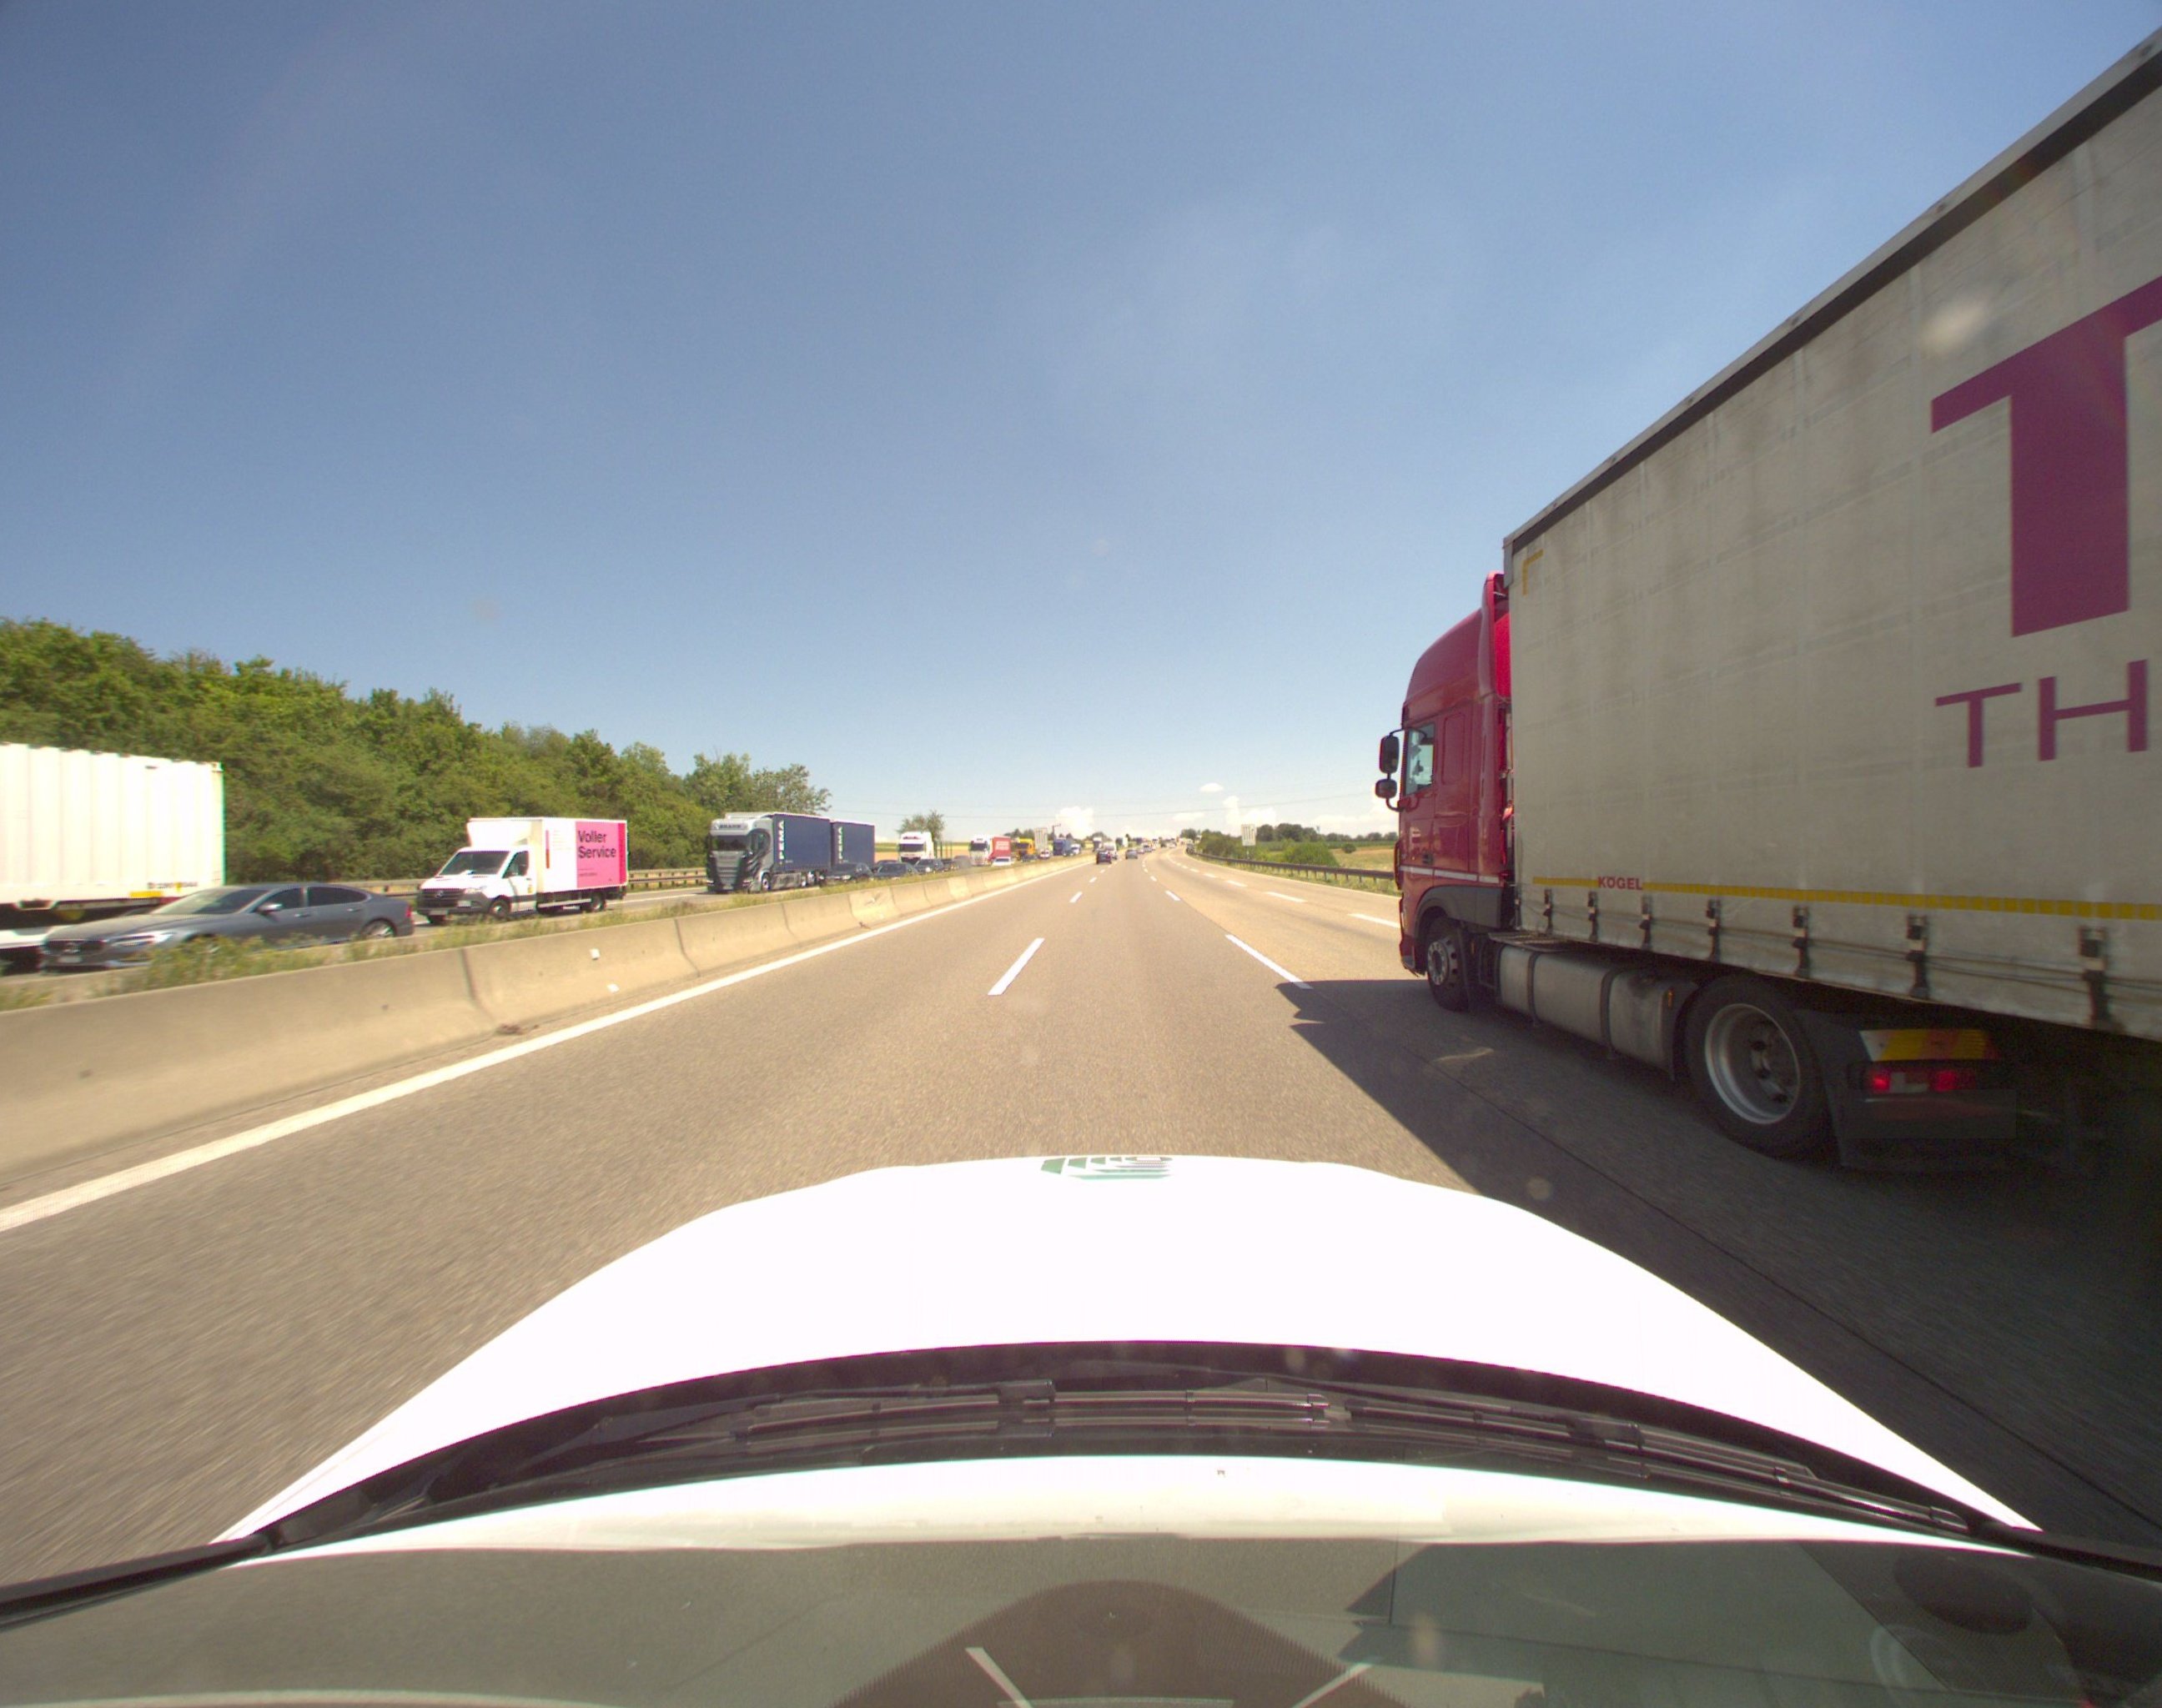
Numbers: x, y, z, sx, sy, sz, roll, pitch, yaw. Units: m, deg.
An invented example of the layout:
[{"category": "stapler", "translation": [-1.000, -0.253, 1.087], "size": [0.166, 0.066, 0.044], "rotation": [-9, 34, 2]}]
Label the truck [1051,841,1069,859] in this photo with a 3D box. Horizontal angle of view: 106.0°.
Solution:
[{"category": "truck", "translation": [-4.851, -0.893, 187.504], "size": [3.060, 4.089, 6.948], "rotation": [-1, 0, 6]}]

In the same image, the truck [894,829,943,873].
[{"category": "truck", "translation": [-14.919, -0.262, 75.332], "size": [2.888, 3.876, 6.184], "rotation": [-1, 0, 3]}]

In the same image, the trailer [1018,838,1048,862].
[{"category": "trailer", "translation": [-8.783, -0.794, 151.517], "size": [2.937, 4.100, 14.409], "rotation": [-1, 1, 7]}]

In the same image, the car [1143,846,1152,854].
[{"category": "car", "translation": [16.183, -1.003, 197.686], "size": [1.985, 1.904, 4.002], "rotation": [-1, -2, 3]}]

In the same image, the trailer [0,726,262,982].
[{"category": "trailer", "translation": [-18.607, 0.056, 12.715], "size": [2.908, 4.071, 8.236], "rotation": [-2, 0, 3]}]

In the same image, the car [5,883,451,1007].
[{"category": "car", "translation": [-14.343, 1.400, 14.409], "size": [1.986, 1.545, 5.496], "rotation": [-2, 0, 1]}]

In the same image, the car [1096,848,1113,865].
[{"category": "car", "translation": [2.827, 0.302, 96.479], "size": [1.840, 1.861, 4.209], "rotation": [-1, 2, 3]}]

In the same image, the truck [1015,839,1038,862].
[{"category": "truck", "translation": [-9.629, -0.663, 144.290], "size": [2.736, 3.837, 7.112], "rotation": [-1, 1, 6]}]

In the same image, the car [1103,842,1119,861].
[{"category": "car", "translation": [4.536, -0.355, 122.504], "size": [2.169, 2.625, 4.678], "rotation": [-1, -2, 5]}]

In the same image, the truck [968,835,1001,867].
[{"category": "truck", "translation": [-12.693, -0.383, 107.131], "size": [3.021, 4.081, 6.323], "rotation": [-1, 0, 5]}]

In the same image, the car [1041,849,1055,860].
[{"category": "car", "translation": [-5.763, 0.052, 141.334], "size": [1.905, 1.772, 4.766], "rotation": [-1, 0, 3]}]

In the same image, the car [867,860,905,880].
[{"category": "car", "translation": [-15.334, 1.261, 64.309], "size": [1.649, 1.431, 4.651], "rotation": [-2, 0, 3]}]

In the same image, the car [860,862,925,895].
[{"category": "car", "translation": [-9.546, 1.212, 41.686], "size": [1.985, 1.527, 4.776], "rotation": [-1, 0, 2]}]

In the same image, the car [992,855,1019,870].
[{"category": "car", "translation": [-7.120, 0.850, 77.086], "size": [1.830, 1.285, 4.878], "rotation": [-1, -2, 3]}]

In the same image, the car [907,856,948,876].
[{"category": "car", "translation": [-11.887, 0.888, 63.376], "size": [1.985, 1.455, 5.174], "rotation": [-2, 0, 3]}]

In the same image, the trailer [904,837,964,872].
[{"category": "trailer", "translation": [-14.531, 0.009, 81.680], "size": [2.845, 3.206, 12.796], "rotation": [-1, 0, 4]}]

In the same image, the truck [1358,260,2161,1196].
[{"category": "truck", "translation": [4.808, -0.541, 6.749], "size": [2.906, 4.008, 6.512], "rotation": [-1, 0, 1]}]

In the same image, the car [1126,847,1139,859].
[{"category": "car", "translation": [7.980, -0.173, 126.808], "size": [1.985, 1.750, 4.003], "rotation": [-1, -2, 3]}]

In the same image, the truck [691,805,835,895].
[{"category": "truck", "translation": [-16.859, -0.191, 44.433], "size": [2.988, 4.234, 10.743], "rotation": [-2, 0, 3]}]

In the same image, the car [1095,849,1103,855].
[{"category": "car", "translation": [4.894, -0.555, 223.922], "size": [1.904, 1.541, 5.751], "rotation": [-1, 1, 5]}]

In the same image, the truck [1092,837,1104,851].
[{"category": "truck", "translation": [5.513, -3.057, 259.987], "size": [3.114, 4.327, 6.162], "rotation": [-1, 0, 9]}]

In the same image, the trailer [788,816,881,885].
[{"category": "trailer", "translation": [-16.193, -0.225, 54.242], "size": [2.973, 4.192, 8.603], "rotation": [-2, 0, 4]}]

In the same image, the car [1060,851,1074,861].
[{"category": "car", "translation": [-2.532, 0.294, 148.838], "size": [2.040, 1.696, 5.260], "rotation": [-1, 0, 3]}]

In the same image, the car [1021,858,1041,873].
[{"category": "car", "translation": [-5.994, 1.347, 97.876], "size": [1.830, 1.583, 4.558], "rotation": [-1, 0, 3]}]

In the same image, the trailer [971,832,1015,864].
[{"category": "trailer", "translation": [-12.094, -0.800, 113.487], "size": [3.070, 4.100, 14.404], "rotation": [-1, 0, 6]}]

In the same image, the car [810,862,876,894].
[{"category": "car", "translation": [-12.810, 1.257, 44.165], "size": [1.985, 1.527, 4.776], "rotation": [-1, 0, 2]}]

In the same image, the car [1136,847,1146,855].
[{"category": "car", "translation": [13.113, -0.632, 177.950], "size": [1.984, 1.585, 4.005], "rotation": [-2, -1, 5]}]

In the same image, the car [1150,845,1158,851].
[{"category": "car", "translation": [20.420, -1.765, 227.524], "size": [1.983, 1.552, 4.009], "rotation": [0, 1, 7]}]

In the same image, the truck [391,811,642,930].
[{"category": "truck", "translation": [-17.608, 0.444, 26.241], "size": [2.529, 3.207, 7.592], "rotation": [-1, 0, 2]}]
